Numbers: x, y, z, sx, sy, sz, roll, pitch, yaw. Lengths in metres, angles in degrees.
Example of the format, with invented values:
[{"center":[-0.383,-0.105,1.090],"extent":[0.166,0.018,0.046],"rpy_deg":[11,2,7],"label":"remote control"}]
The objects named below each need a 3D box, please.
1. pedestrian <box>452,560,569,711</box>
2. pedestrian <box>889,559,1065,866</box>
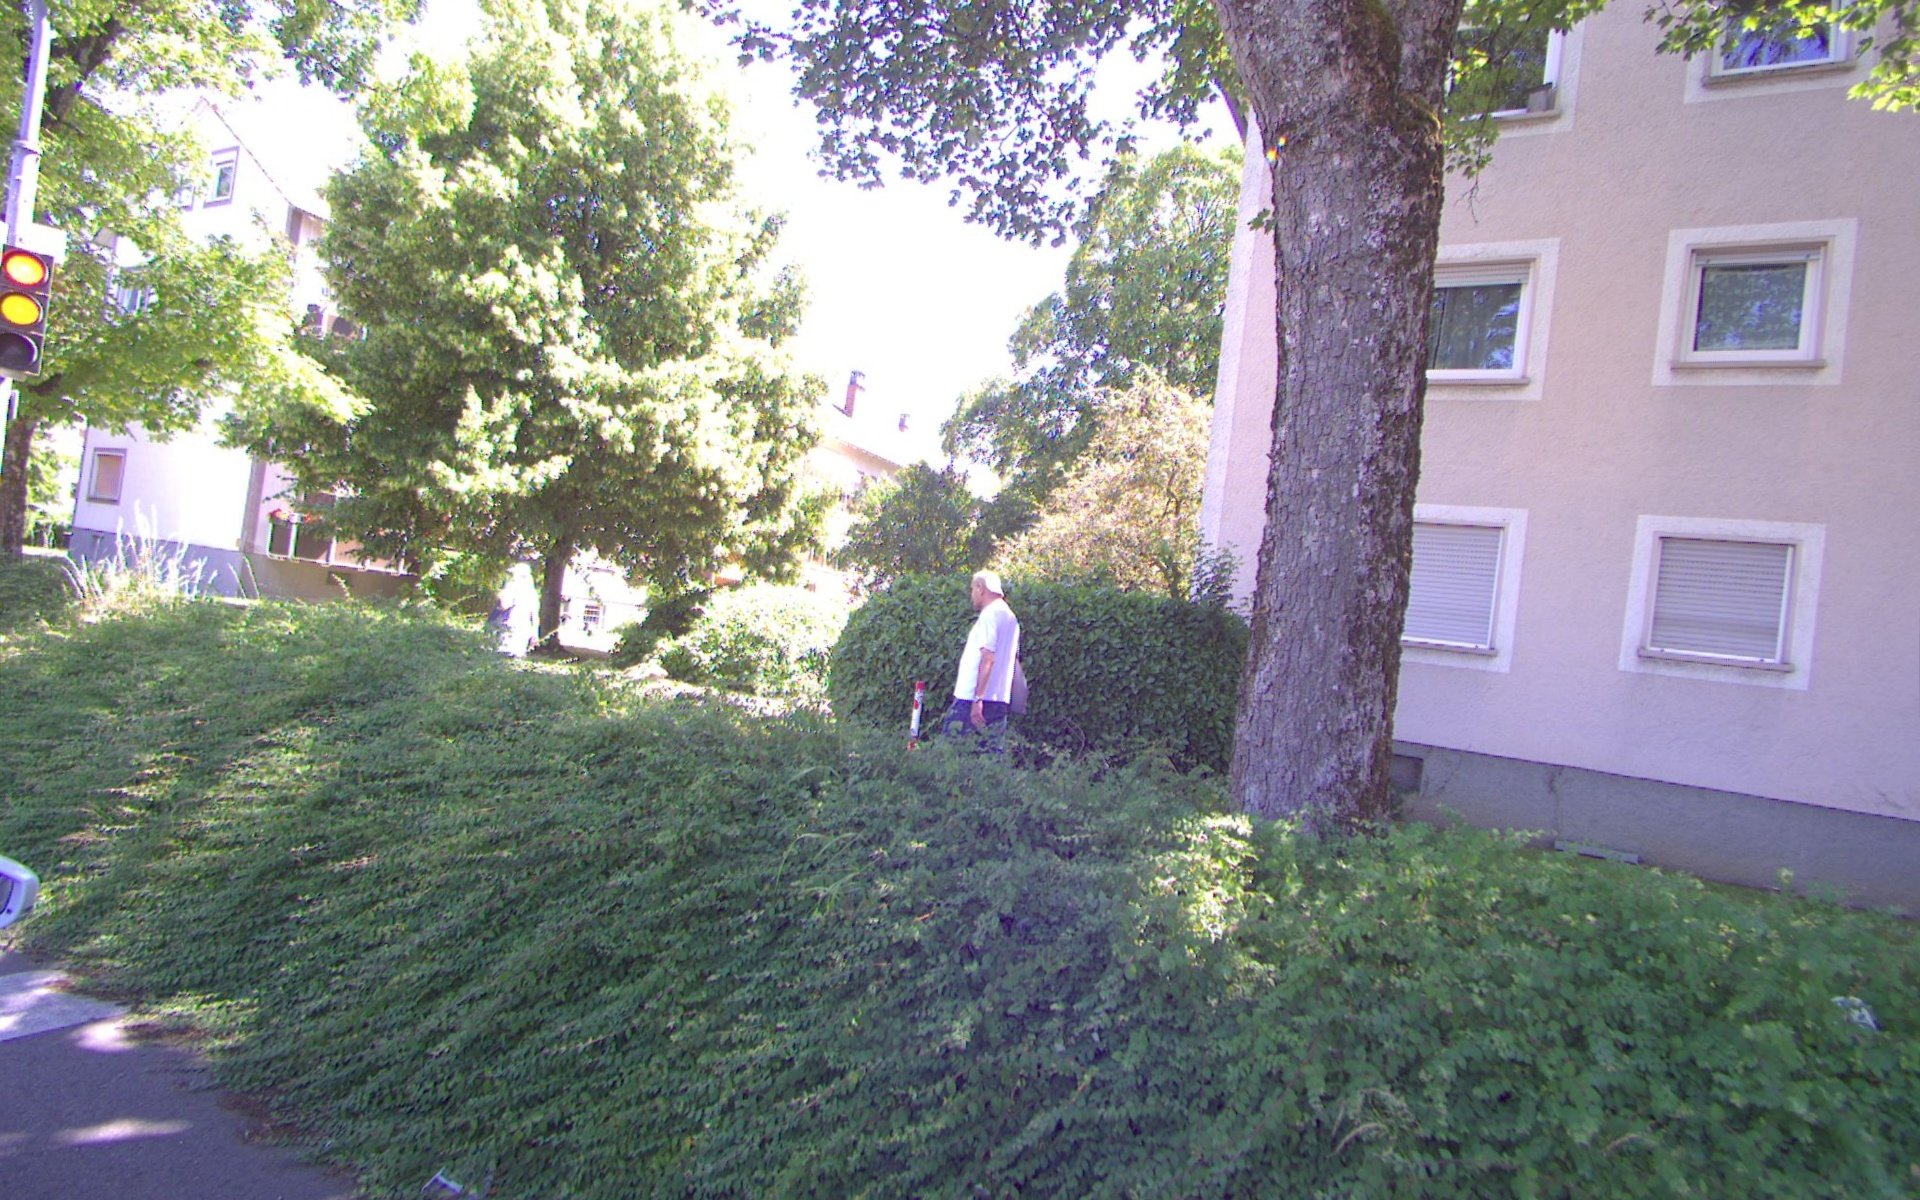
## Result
[{"center":[-5.327,0.423,11.937],"extent":[0.836,1.653,0.720],"rpy_deg":[7,0,23],"label":"pedestrian"},{"center":[0.141,0.745,6.916],"extent":[0.886,1.894,0.675],"rpy_deg":[7,-2,11],"label":"pedestrian"}]
